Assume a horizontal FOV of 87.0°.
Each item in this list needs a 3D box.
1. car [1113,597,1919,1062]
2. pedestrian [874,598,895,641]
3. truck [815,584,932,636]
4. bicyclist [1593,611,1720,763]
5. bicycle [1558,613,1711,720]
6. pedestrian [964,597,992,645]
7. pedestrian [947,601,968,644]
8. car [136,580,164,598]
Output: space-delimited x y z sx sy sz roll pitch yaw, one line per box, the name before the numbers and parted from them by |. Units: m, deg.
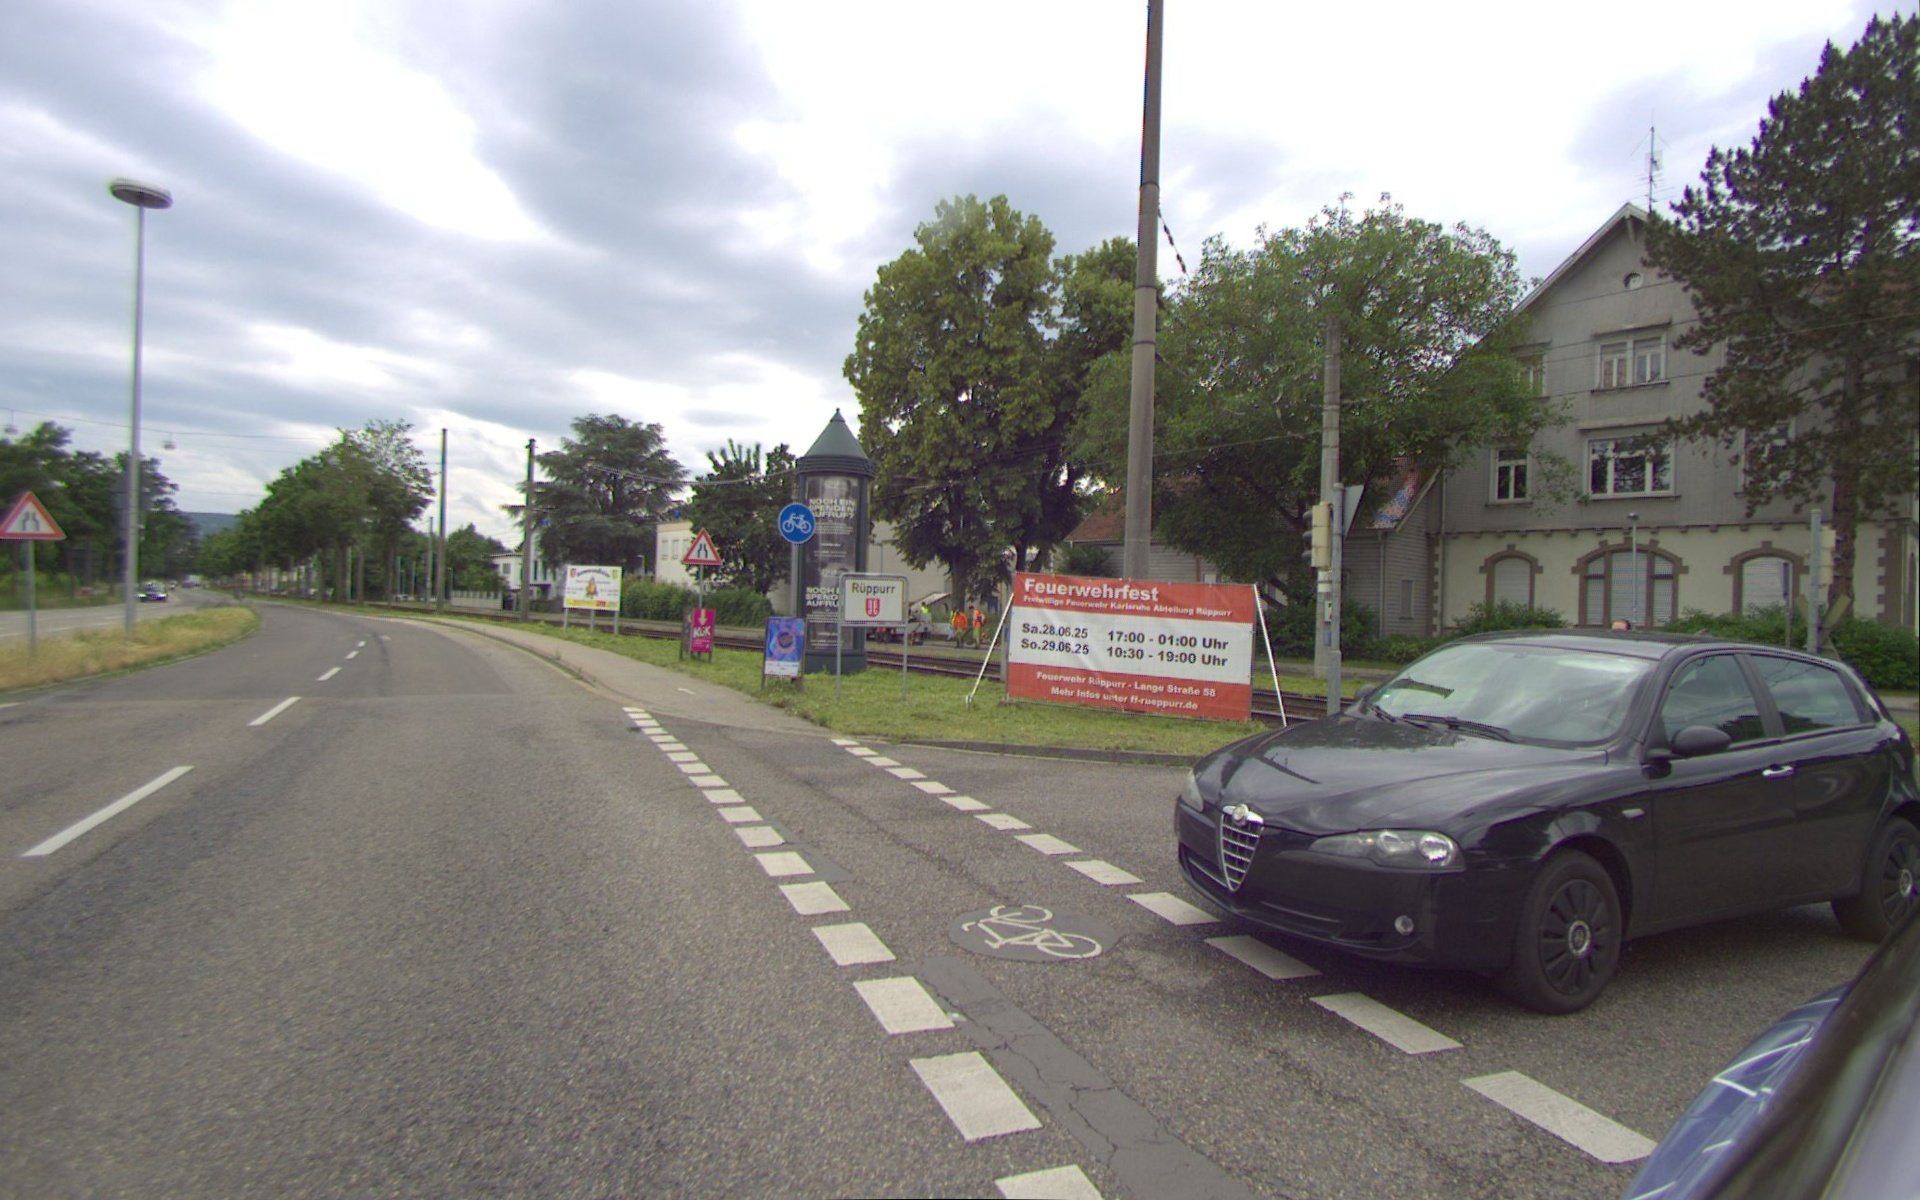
car | 3.147 0.785 4.998 4.446 1.475 1.807 2 0 -25
pedestrian | -3.326 0.847 44.483 0.703 1.863 0.606 1 -1 17
truck | -4.245 0.417 48.449 2.557 2.322 6.408 1 0 -37
bicyclist | 6.986 0.854 10.161 0.942 1.444 0.623 1 -4 -29
bicycle | 6.786 0.656 10.147 1.988 0.993 0.384 2 -1 -28
pedestrian | 0.717 0.847 40.882 0.856 1.878 0.681 2 -1 -26
pedestrian | -0.086 0.924 41.898 0.573 1.785 0.627 1 -1 42
car | -72.816 -0.954 91.019 1.629 1.549 3.891 2 0 -34
